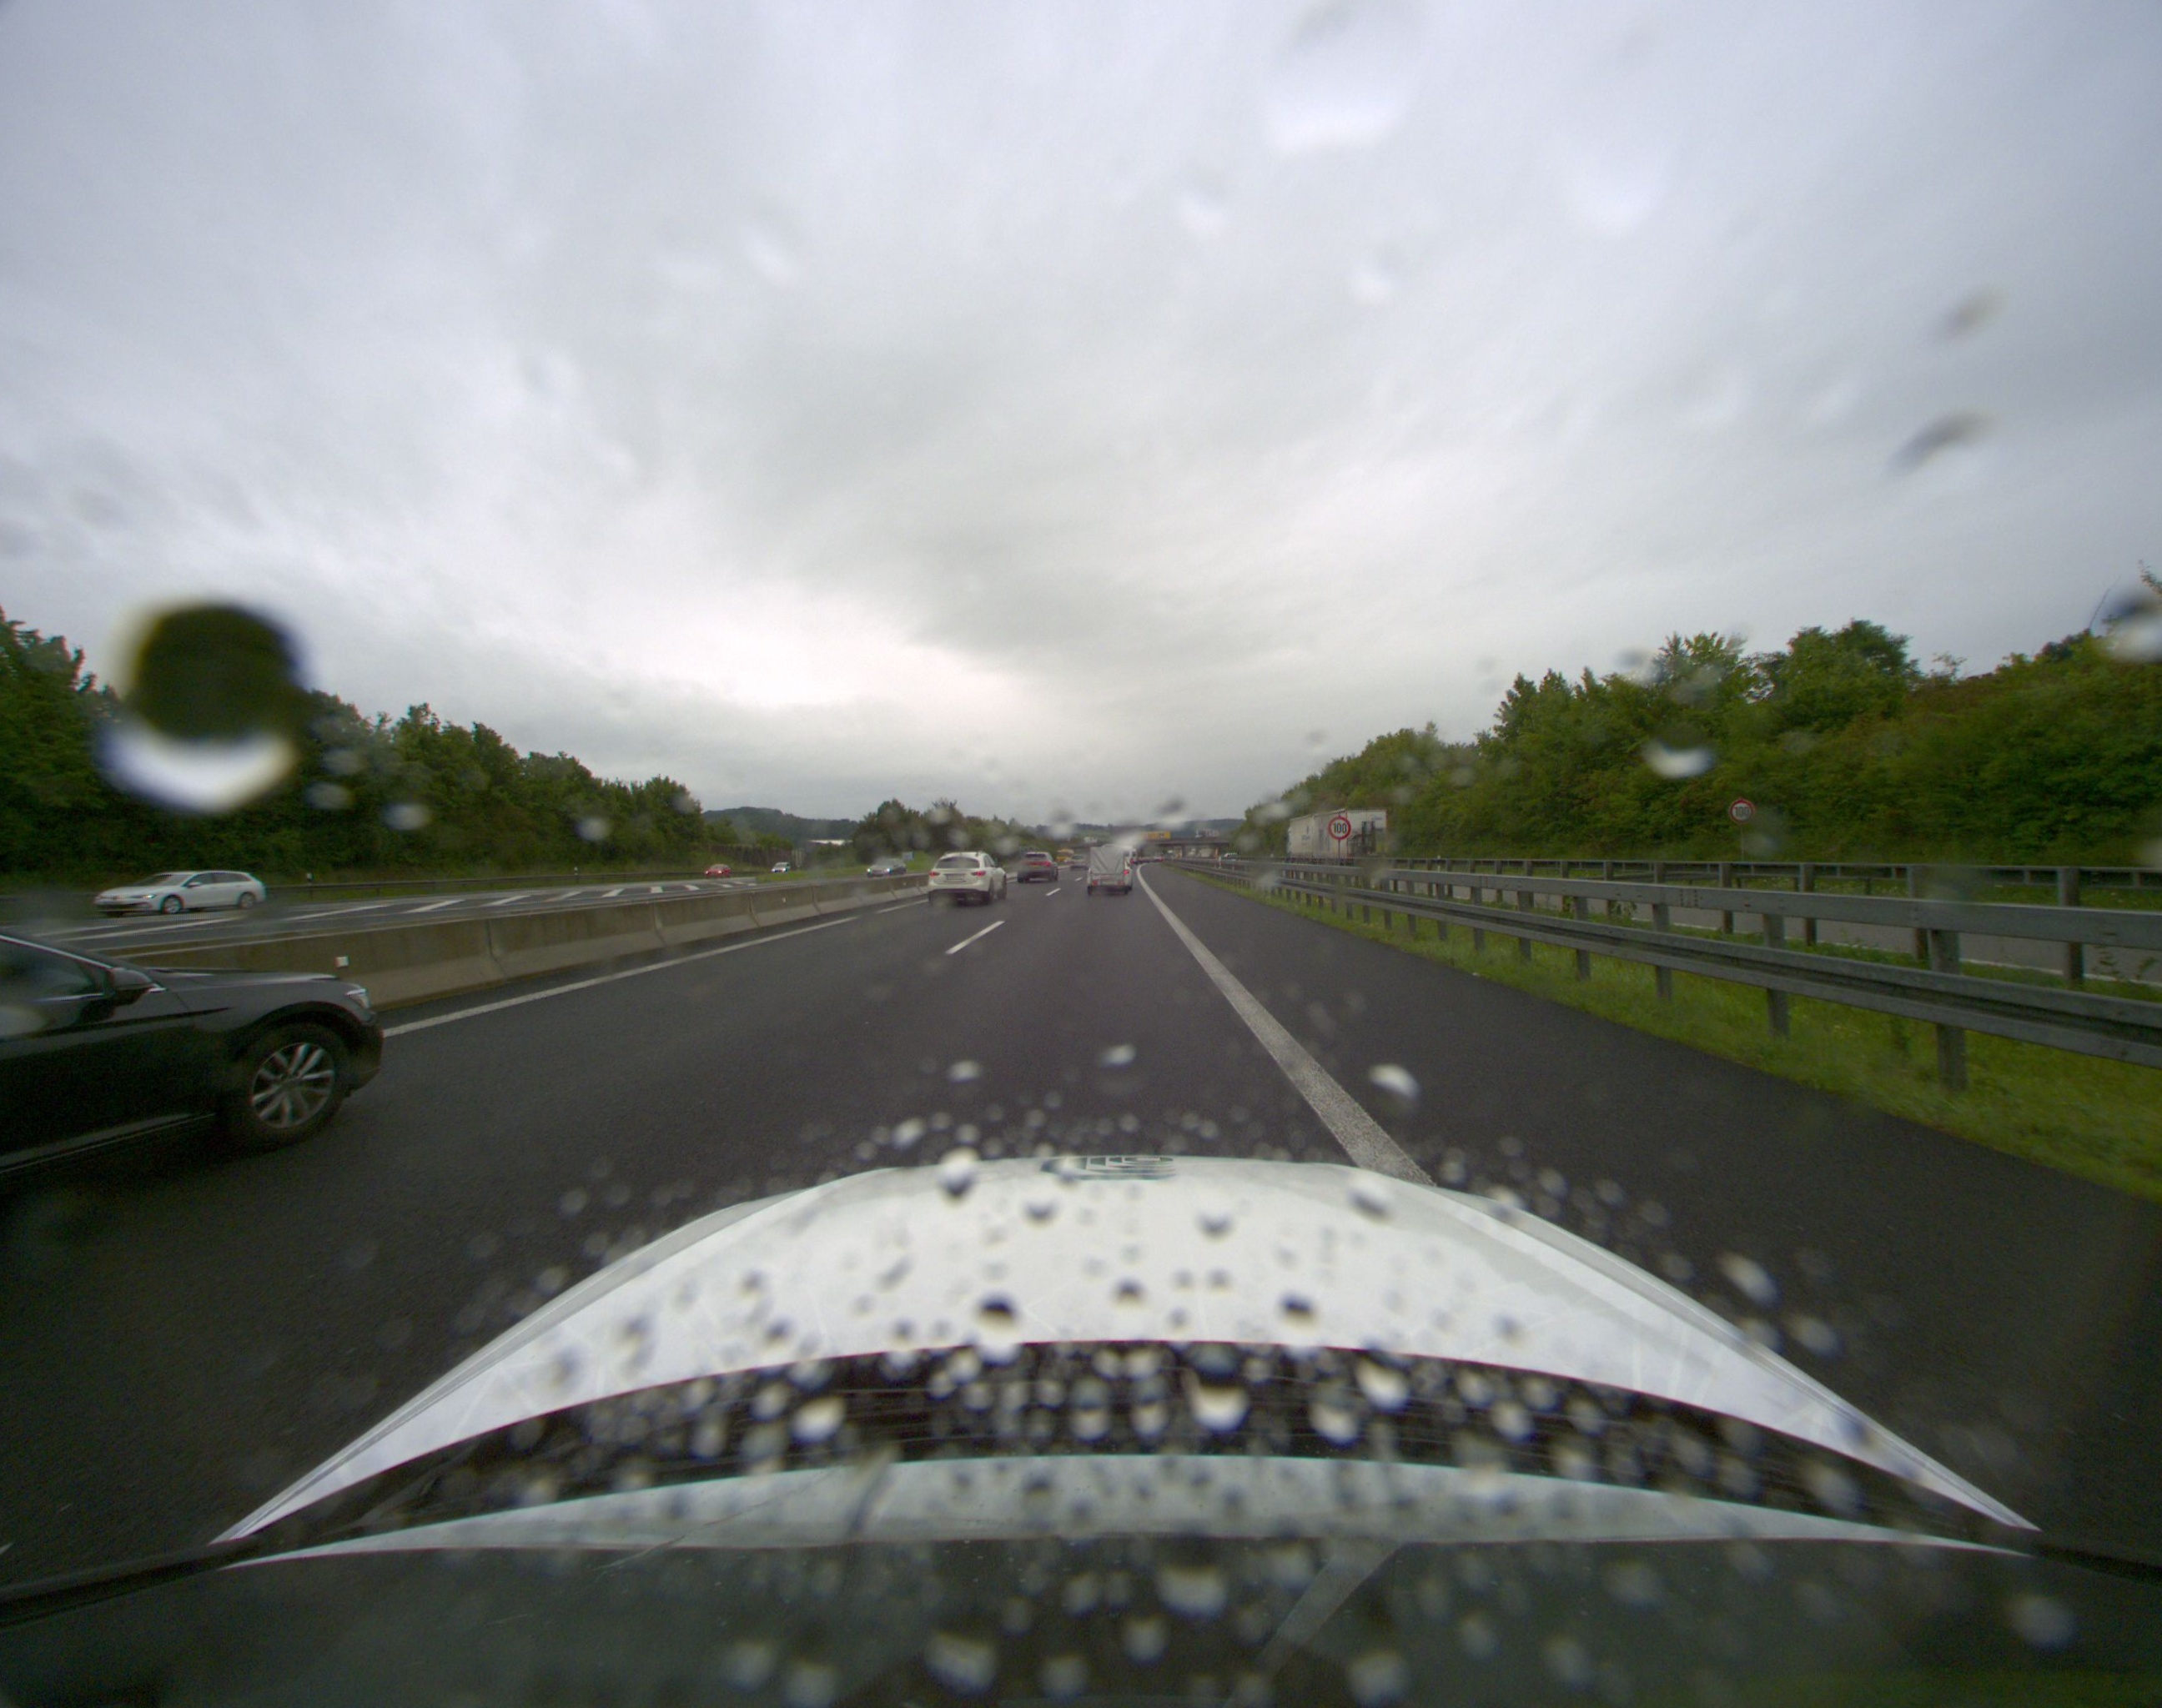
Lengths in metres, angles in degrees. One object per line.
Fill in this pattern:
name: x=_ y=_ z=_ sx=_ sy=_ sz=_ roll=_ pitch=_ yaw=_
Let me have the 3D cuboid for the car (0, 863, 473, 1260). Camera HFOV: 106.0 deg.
car: x=-5.092 y=0.818 z=2.964 sx=1.892 sy=1.497 sz=4.856 roll=-1 pitch=0 yaw=3

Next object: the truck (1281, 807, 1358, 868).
truck: x=18.511 y=-1.204 z=63.933 sx=3.423 sy=4.289 sz=10.426 roll=-1 pitch=0 yaw=3

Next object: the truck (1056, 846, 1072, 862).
truck: x=-3.656 y=0.055 z=178.245 sx=2.748 sy=3.398 sz=5.854 roll=0 pitch=0 yaw=5

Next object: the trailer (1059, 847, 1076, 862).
trailer: x=-3.039 y=0.082 z=184.675 sx=2.748 sy=3.398 sz=11.463 roll=0 pitch=0 yaw=5

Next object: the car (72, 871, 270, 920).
car: x=-31.243 y=1.365 z=28.216 sx=2.178 sy=1.430 sz=4.377 roll=-1 pitch=0 yaw=-7

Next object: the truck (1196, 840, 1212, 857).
truck: x=38.212 y=-1.722 z=252.474 sx=4.075 sy=5.103 sz=10.476 roll=-1 pitch=0 yaw=5

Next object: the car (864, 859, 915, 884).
car: x=-14.587 y=1.290 z=62.286 sx=2.169 sy=1.695 sz=5.258 roll=-1 pitch=0 yaw=6

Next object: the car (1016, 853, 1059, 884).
car: x=-2.438 y=0.795 z=46.958 sx=2.167 sy=1.631 sz=4.501 roll=-1 pitch=0 yaw=1

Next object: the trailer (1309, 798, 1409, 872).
trailer: x=17.957 y=-1.153 z=53.502 sx=3.423 sy=4.289 sz=10.462 roll=-1 pitch=0 yaw=3

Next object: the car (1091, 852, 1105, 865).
car: x=2.470 y=0.649 z=115.954 sx=1.835 sy=1.819 sz=4.002 roll=-1 pitch=0 yaw=2

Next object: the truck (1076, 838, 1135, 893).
truck: x=1.132 y=0.409 z=33.481 sx=2.009 sy=1.985 sz=7.222 roll=-1 pitch=0 yaw=5

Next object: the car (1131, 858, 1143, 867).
car: x=10.626 y=1.628 z=154.323 sx=1.987 sy=1.750 sz=4.000 roll=0 pitch=0 yaw=1

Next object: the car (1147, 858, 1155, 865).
car: x=20.406 y=2.181 z=237.348 sx=1.984 sy=1.750 sz=4.006 roll=0 pitch=0 yaw=6

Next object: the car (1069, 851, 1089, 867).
car: x=-0.170 y=0.485 z=86.577 sx=1.893 sy=1.613 sz=4.019 roll=-1 pitch=0 yaw=2

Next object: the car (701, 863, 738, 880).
car: x=-37.507 y=1.802 z=84.630 sx=2.178 sy=1.695 sz=4.617 roll=-1 pitch=0 yaw=-7

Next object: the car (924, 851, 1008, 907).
car: x=-3.602 y=0.742 z=26.356 sx=1.969 sy=1.639 sz=4.501 roll=-1 pitch=0 yaw=1

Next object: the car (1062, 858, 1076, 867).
car: x=-2.230 y=1.608 z=158.081 sx=2.169 sy=1.695 sz=4.872 roll=-1 pitch=0 yaw=6

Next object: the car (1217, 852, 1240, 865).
car: x=16.057 y=0.487 z=88.878 sx=1.852 sy=1.447 sz=4.160 roll=-1 pitch=0 yaw=2

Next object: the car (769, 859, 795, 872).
car: x=-41.267 y=1.582 z=112.484 sx=2.177 sy=1.695 sz=4.559 roll=-1 pitch=0 yaw=-5

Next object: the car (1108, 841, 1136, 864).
car: x=4.954 y=-0.181 z=97.204 sx=3.002 sy=2.616 sz=6.083 roll=-1 pitch=0 yaw=5

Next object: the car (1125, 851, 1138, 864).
car: x=8.424 y=0.574 z=135.400 sx=1.987 sy=2.036 sz=4.152 roll=0 pitch=0 yaw=1

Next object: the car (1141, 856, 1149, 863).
car: x=16.404 y=1.476 z=209.167 sx=1.984 sy=1.750 sz=4.005 roll=0 pitch=0 yaw=4
